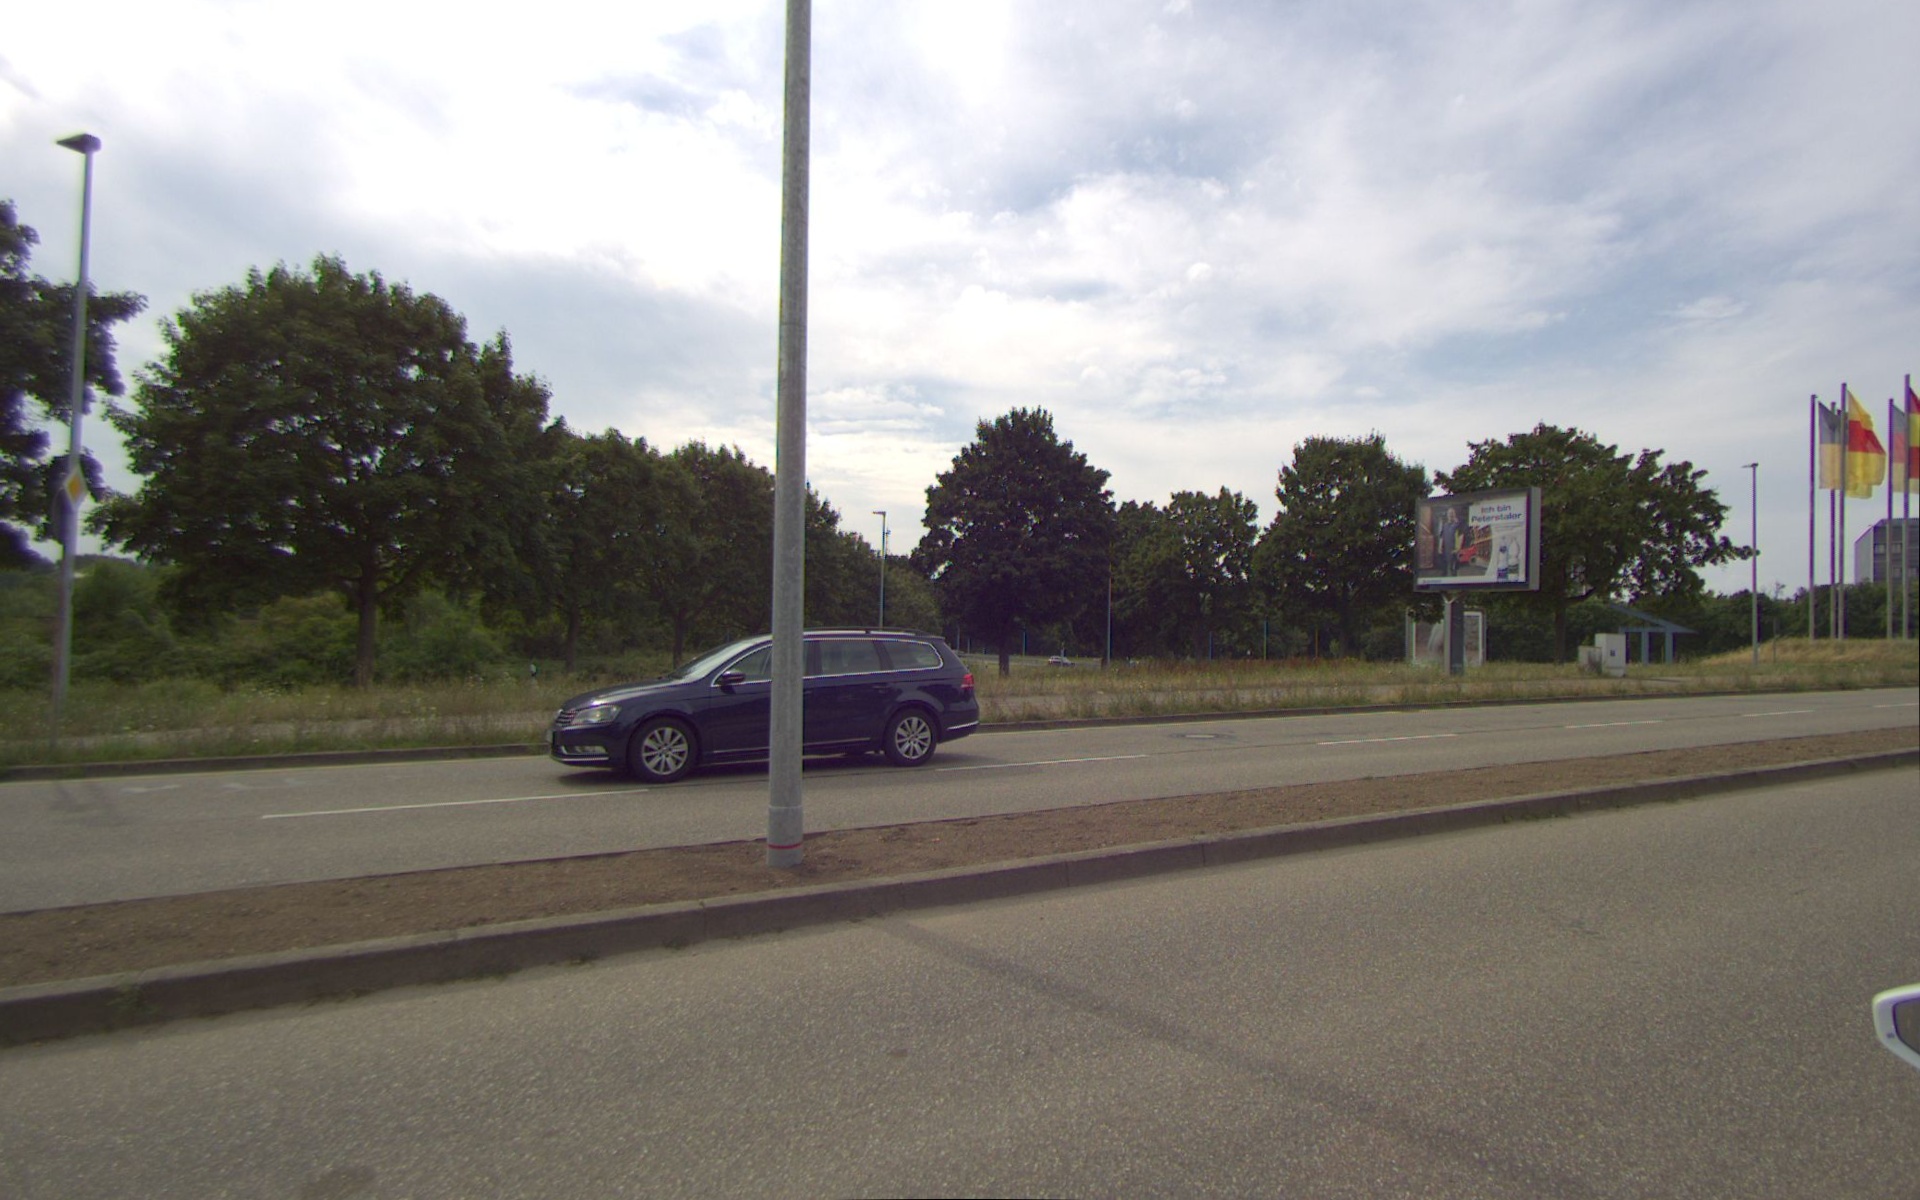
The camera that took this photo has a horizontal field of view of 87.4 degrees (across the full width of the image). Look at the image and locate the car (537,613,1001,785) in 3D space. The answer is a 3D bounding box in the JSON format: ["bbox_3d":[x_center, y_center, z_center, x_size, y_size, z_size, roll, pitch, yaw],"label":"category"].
[{"bbox_3d":[-1.985,0.993,11.028,4.687,1.552,1.759,2,-3,-31],"label":"car"}]
